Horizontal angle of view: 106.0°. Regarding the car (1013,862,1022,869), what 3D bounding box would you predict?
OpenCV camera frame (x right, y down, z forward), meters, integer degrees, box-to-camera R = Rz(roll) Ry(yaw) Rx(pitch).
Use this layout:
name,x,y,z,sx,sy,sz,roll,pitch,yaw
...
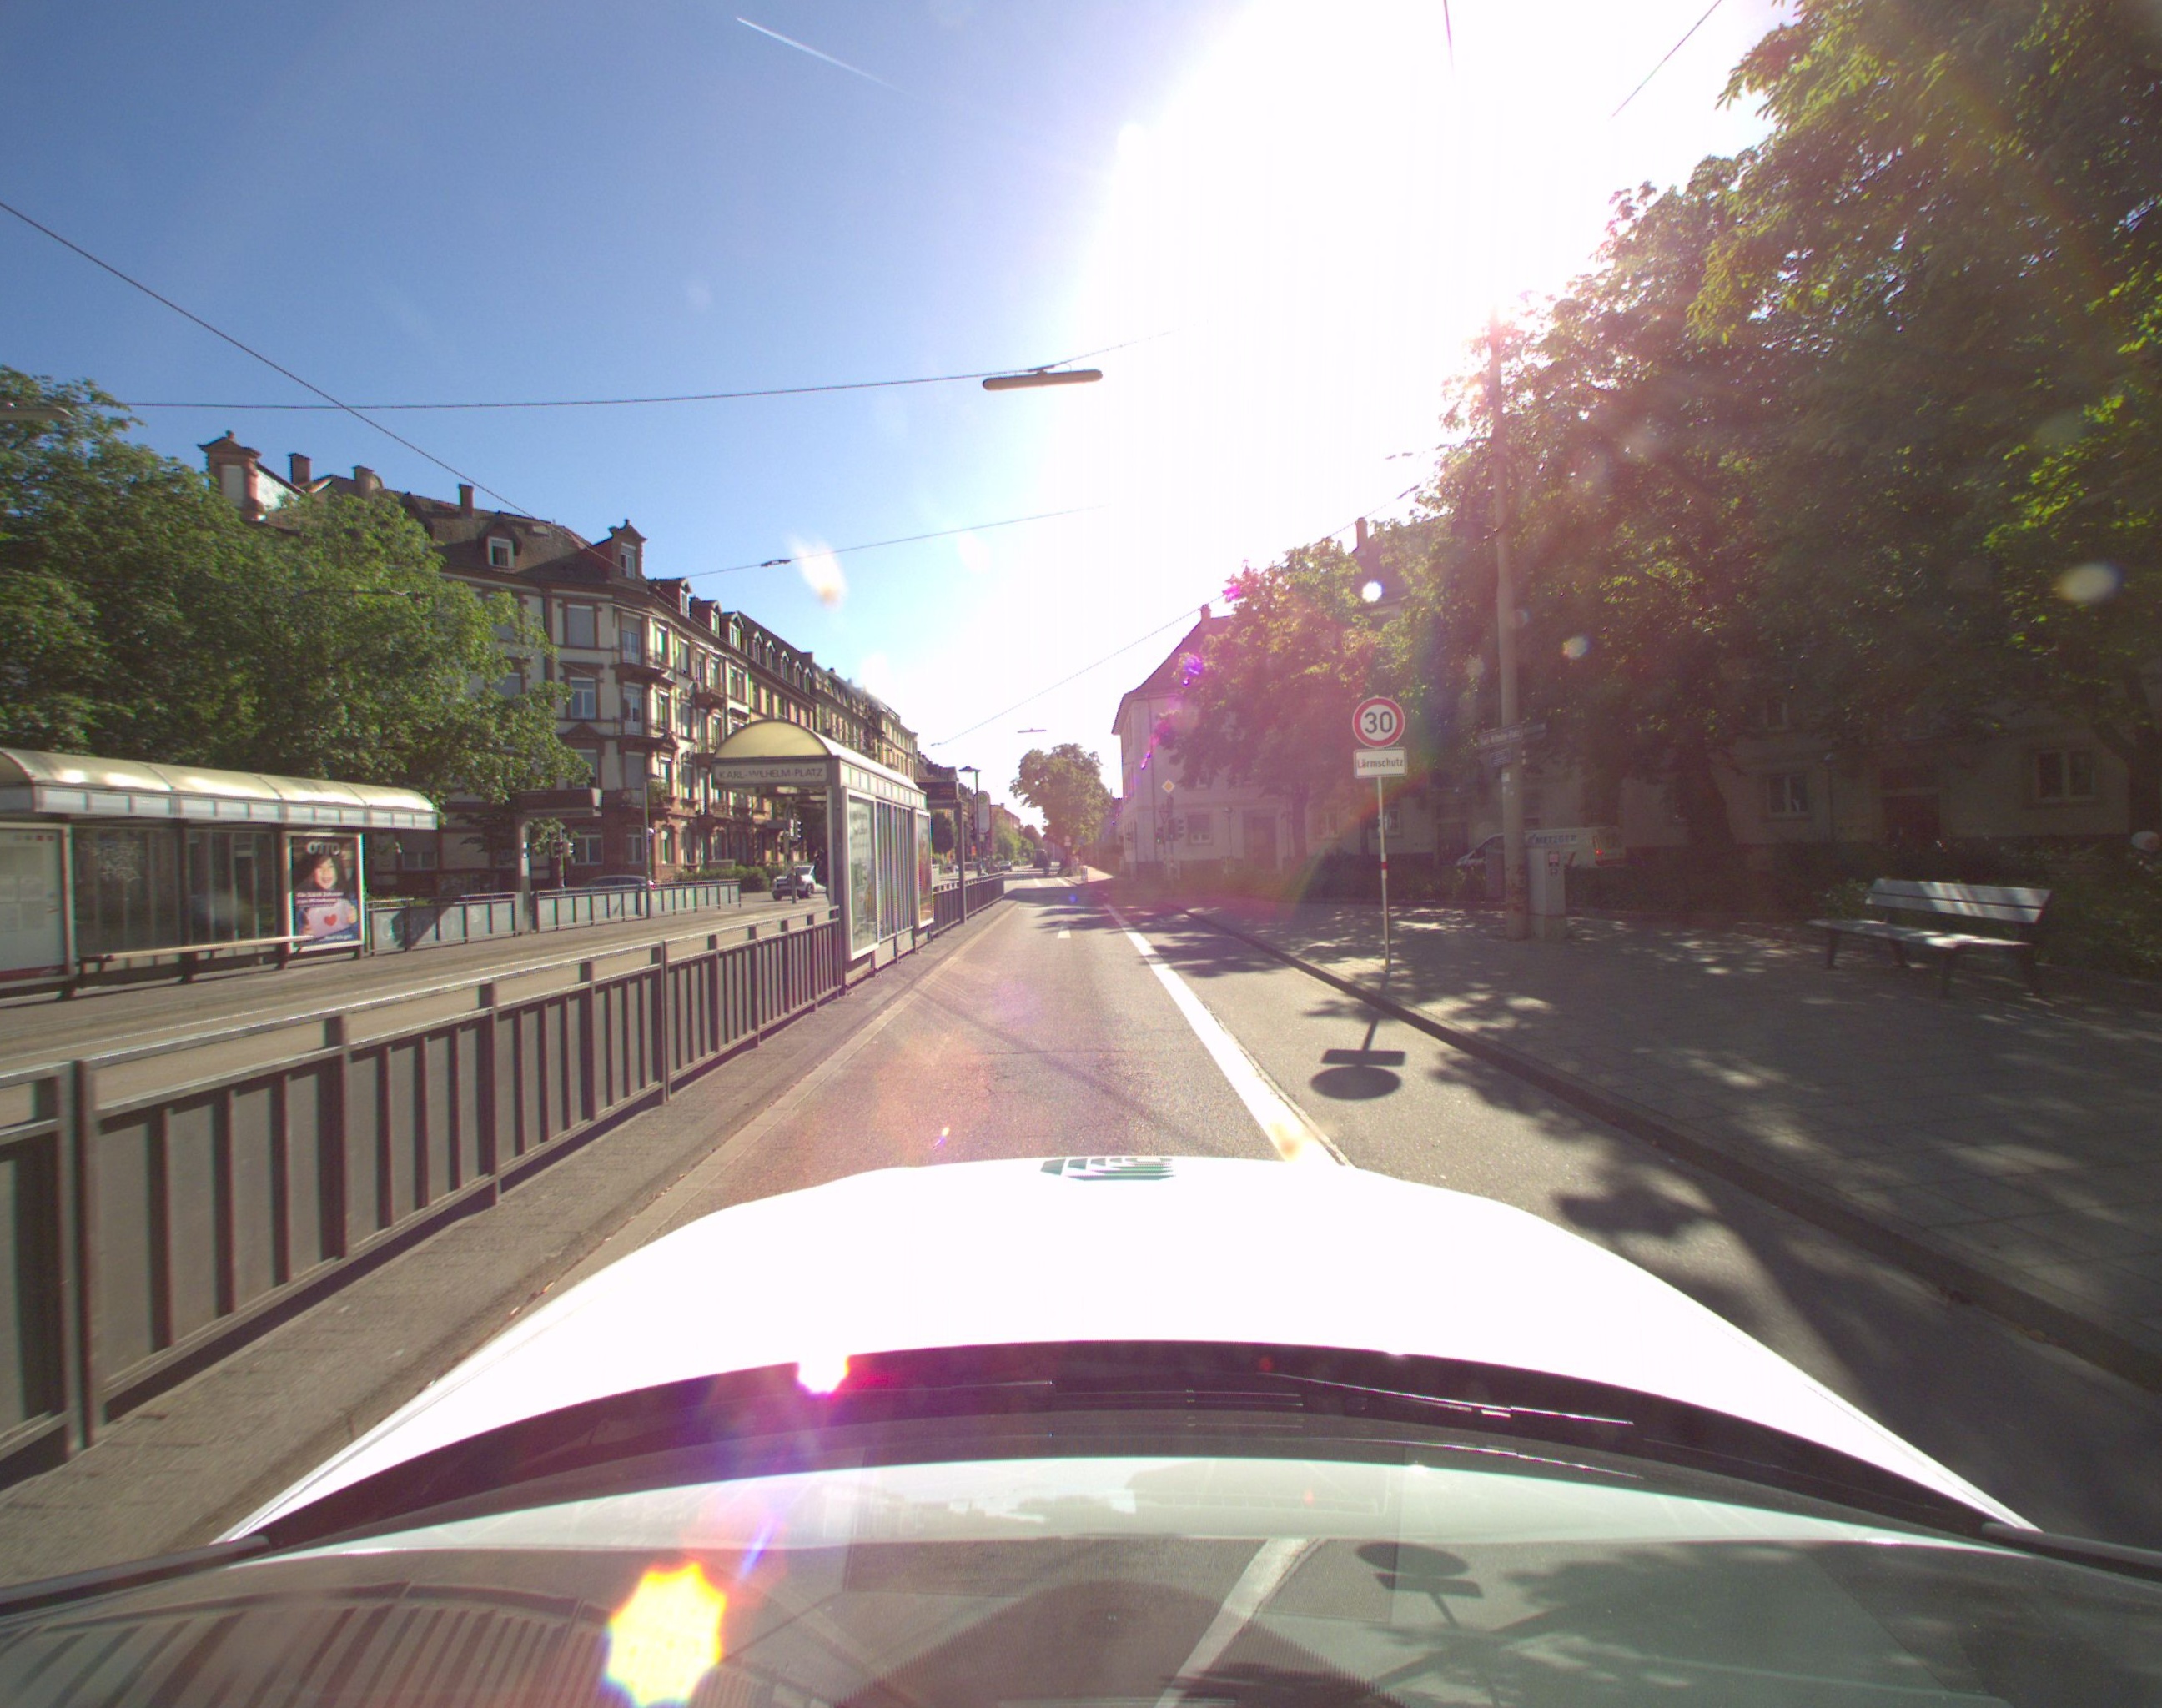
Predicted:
name,x,y,z,sx,sy,sz,roll,pitch,yaw
car,-15.537,2.899,199.187,1.988,1.596,3.998,-1,-1,-1

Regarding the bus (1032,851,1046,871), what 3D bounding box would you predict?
name,x,y,z,sx,sy,sz,roll,pitch,yaw
bus,-7.729,1.266,149.798,2.380,3.497,7.376,-1,-1,-3

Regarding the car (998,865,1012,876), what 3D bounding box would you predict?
name,x,y,z,sx,sy,sz,roll,pitch,yaw
car,-11.197,2.464,119.756,1.990,1.596,3.994,-1,-1,-4

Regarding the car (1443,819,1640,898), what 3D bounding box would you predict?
name,x,y,z,sx,sy,sz,roll,pitch,yaw
car,14.119,0.171,25.308,2.132,2.208,4.894,0,-1,-31

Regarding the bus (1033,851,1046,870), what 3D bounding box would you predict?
name,x,y,z,sx,sy,sz,roll,pitch,yaw
bus,-8.052,1.358,157.197,2.380,3.497,7.376,-1,-1,-3

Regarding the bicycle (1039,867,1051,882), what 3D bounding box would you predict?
name,x,y,z,sx,sy,sz,roll,pitch,yaw
bicycle,-2.889,1.611,64.950,0.839,1.156,2.538,-1,-1,0

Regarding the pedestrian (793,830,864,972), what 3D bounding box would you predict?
name,x,y,z,sx,sy,sz,roll,pitch,yaw
pedestrian,-3.686,0.671,11.944,0.793,2.014,0.740,-1,-1,0

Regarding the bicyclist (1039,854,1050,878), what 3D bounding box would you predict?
name,x,y,z,sx,sy,sz,roll,pitch,yaw
bicyclist,-2.896,0.953,64.814,0.815,1.811,1.058,-1,-1,-1

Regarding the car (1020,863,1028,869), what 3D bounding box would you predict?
name,x,y,z,sx,sy,sz,roll,pitch,yaw
car,-15.692,3.277,223.383,1.988,1.596,3.998,-1,-1,-1

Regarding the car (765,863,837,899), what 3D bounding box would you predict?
name,x,y,z,sx,sy,sz,roll,pitch,yaw
car,-13.234,1.252,38.752,1.768,1.618,4.004,-1,-1,4
